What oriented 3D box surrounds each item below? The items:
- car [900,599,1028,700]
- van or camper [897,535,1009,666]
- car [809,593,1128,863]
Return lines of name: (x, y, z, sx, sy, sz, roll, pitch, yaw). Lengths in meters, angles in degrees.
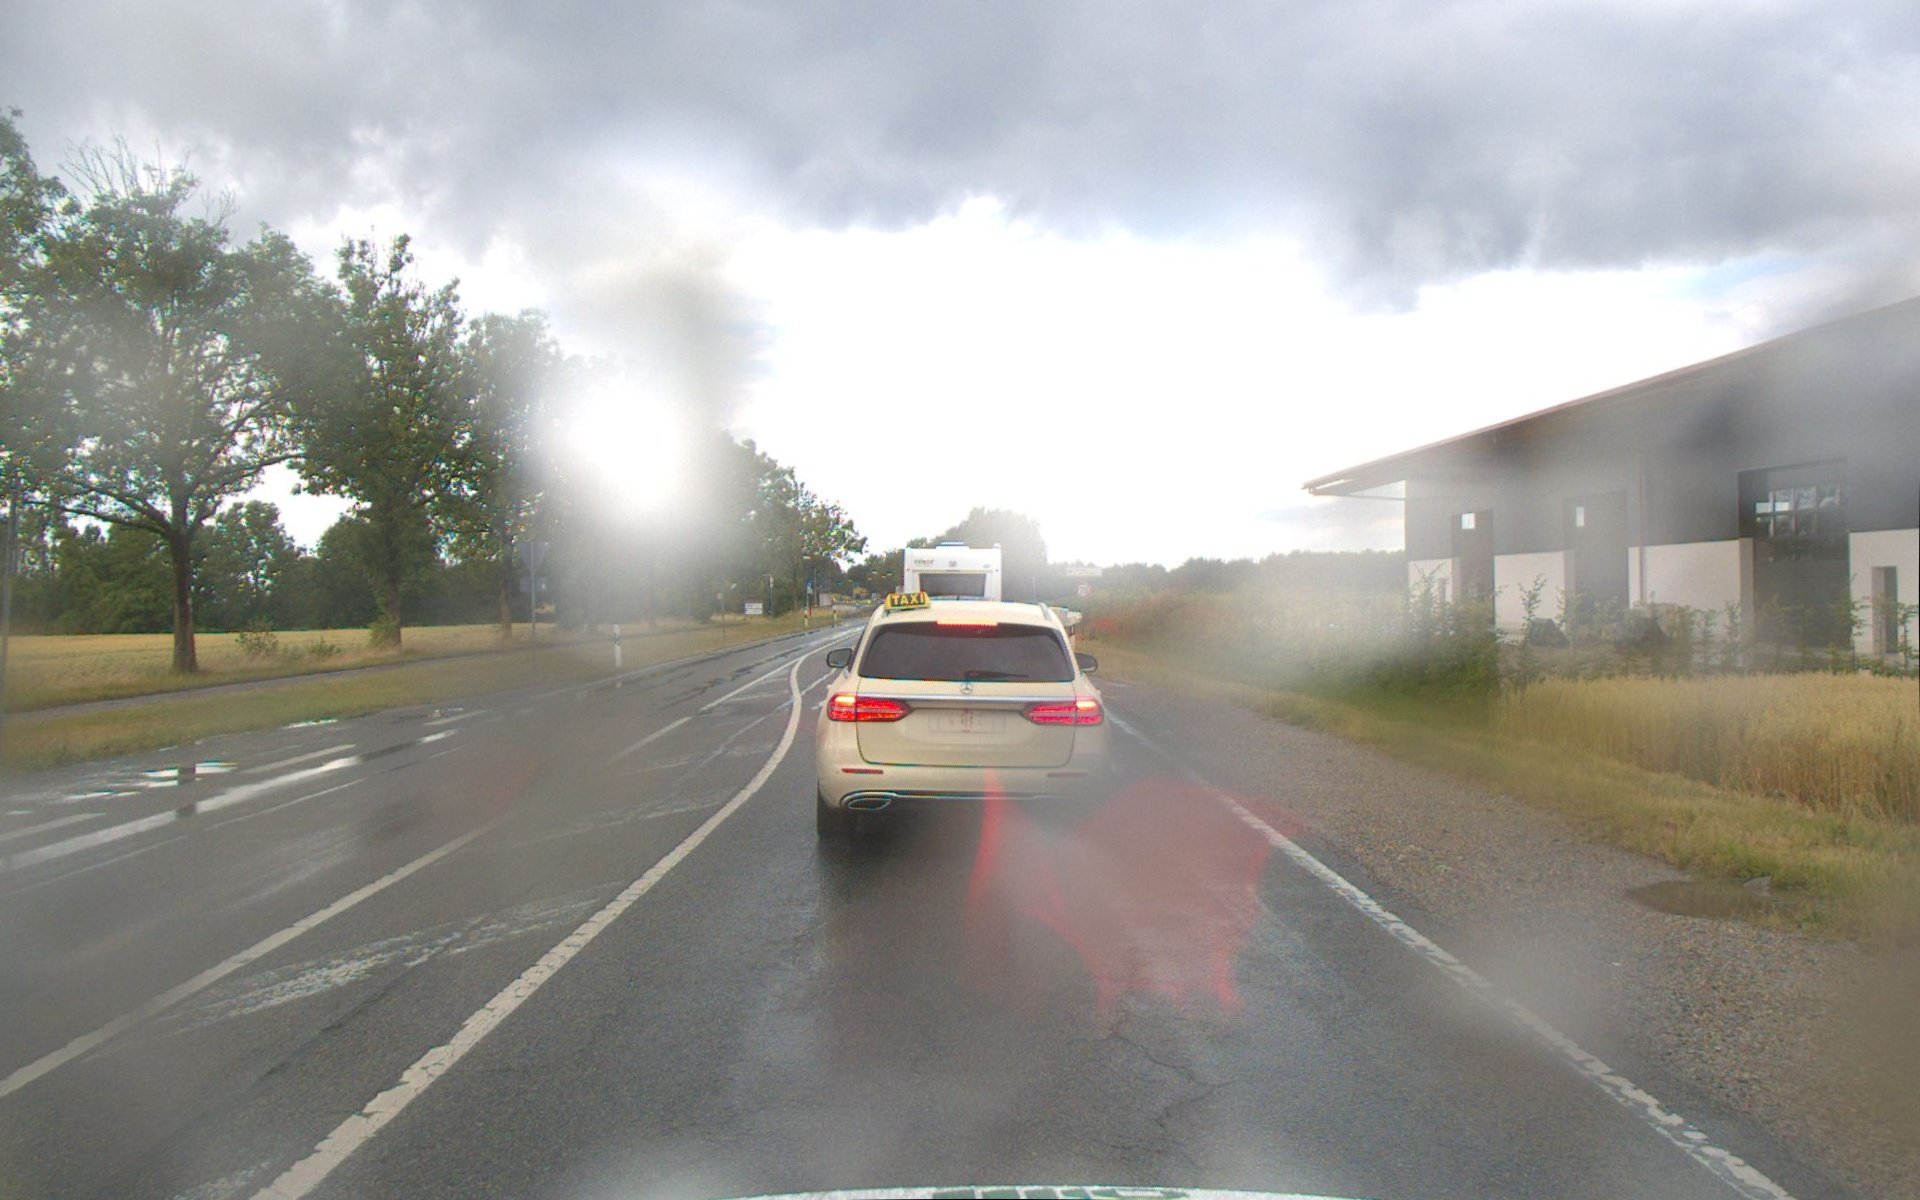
car: (0.003, 0.716, 25.900, 1.856, 1.454, 3.926, 0, 0, -2)
van or camper: (-0.143, 0.003, 40.222, 2.446, 2.880, 5.933, -2, 0, 0)
car: (0.040, 0.706, 11.191, 1.760, 1.490, 4.030, 0, 0, 0)
